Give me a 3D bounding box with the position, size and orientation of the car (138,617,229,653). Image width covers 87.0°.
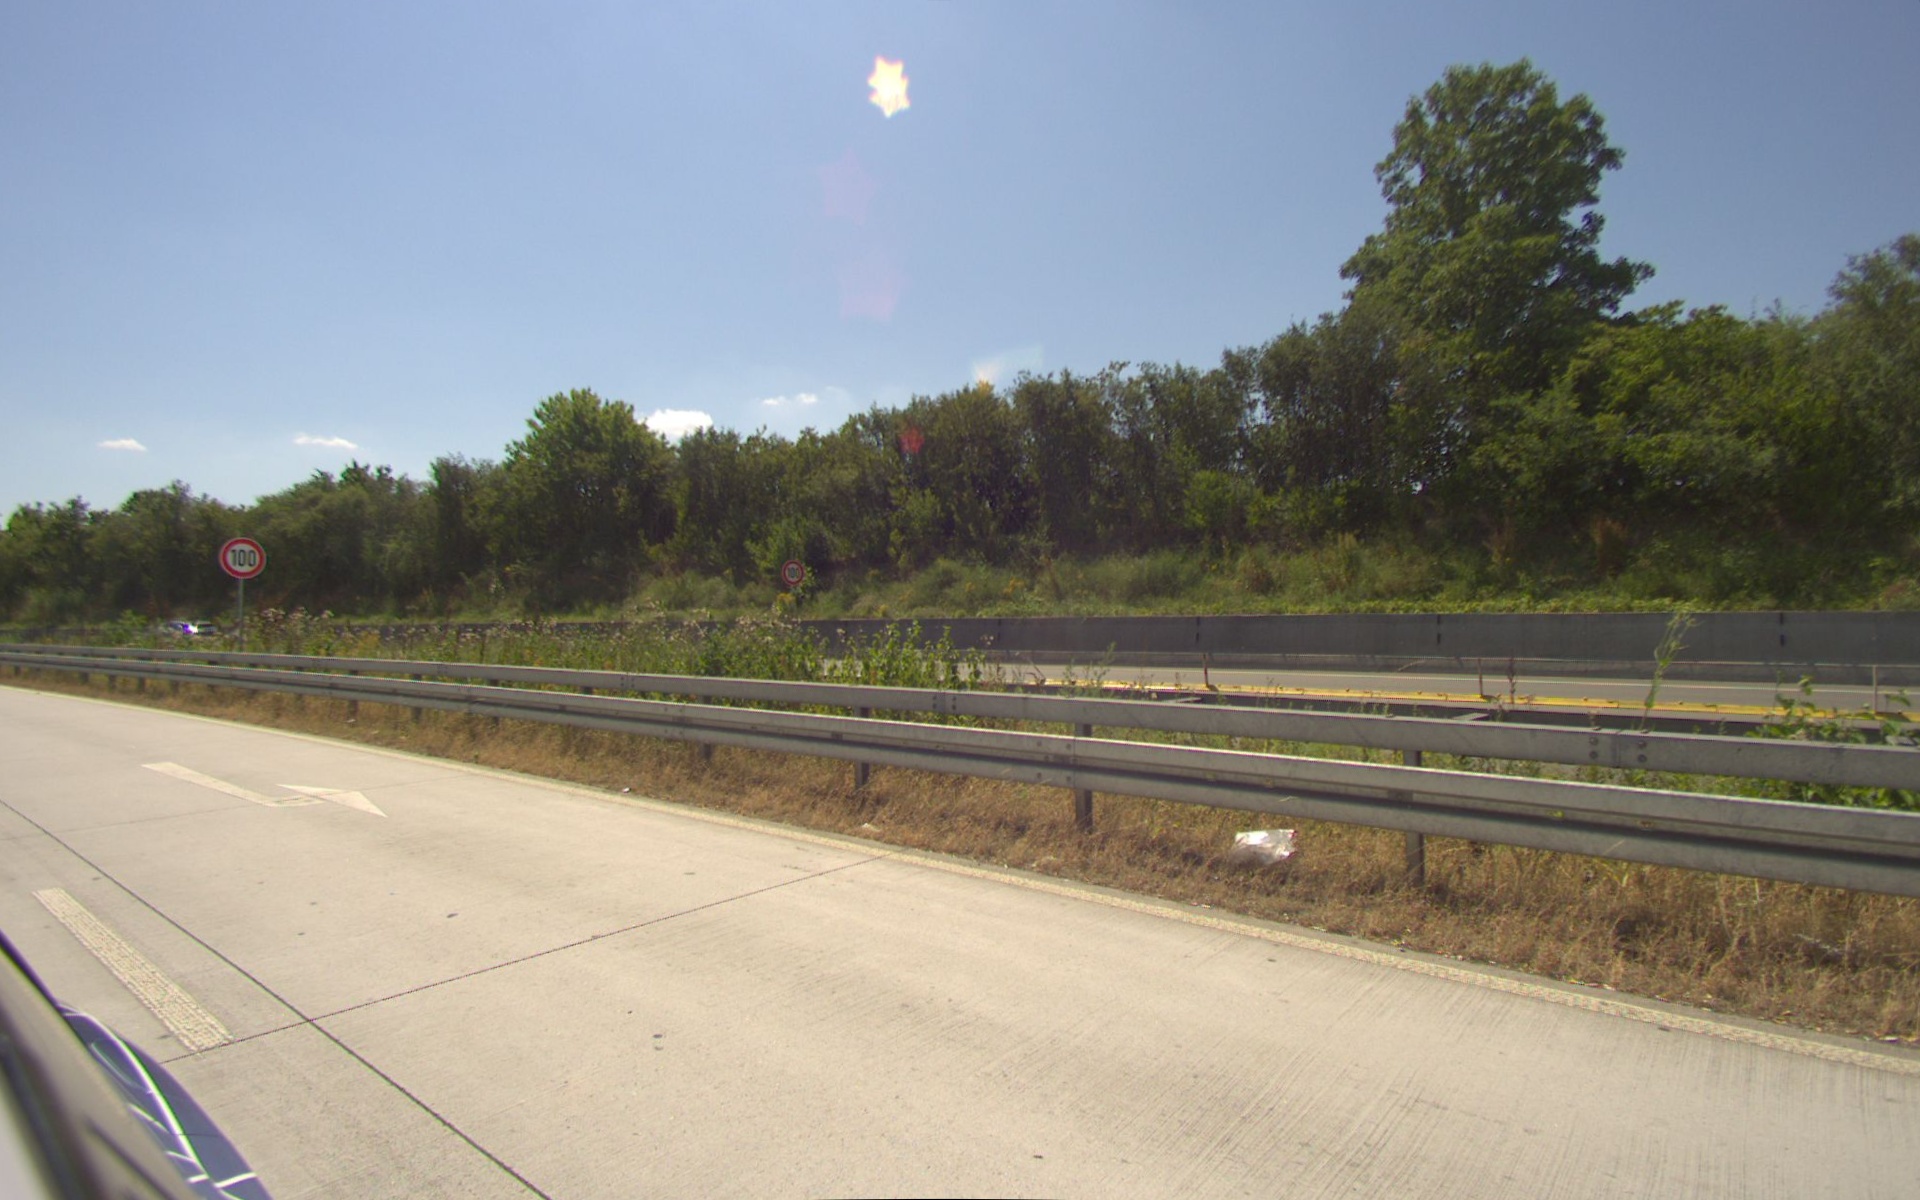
[{"bbox_3d":[-33.643,1.473,43.802,4.592,1.458,1.856,-1,0,35],"label":"car"}]
